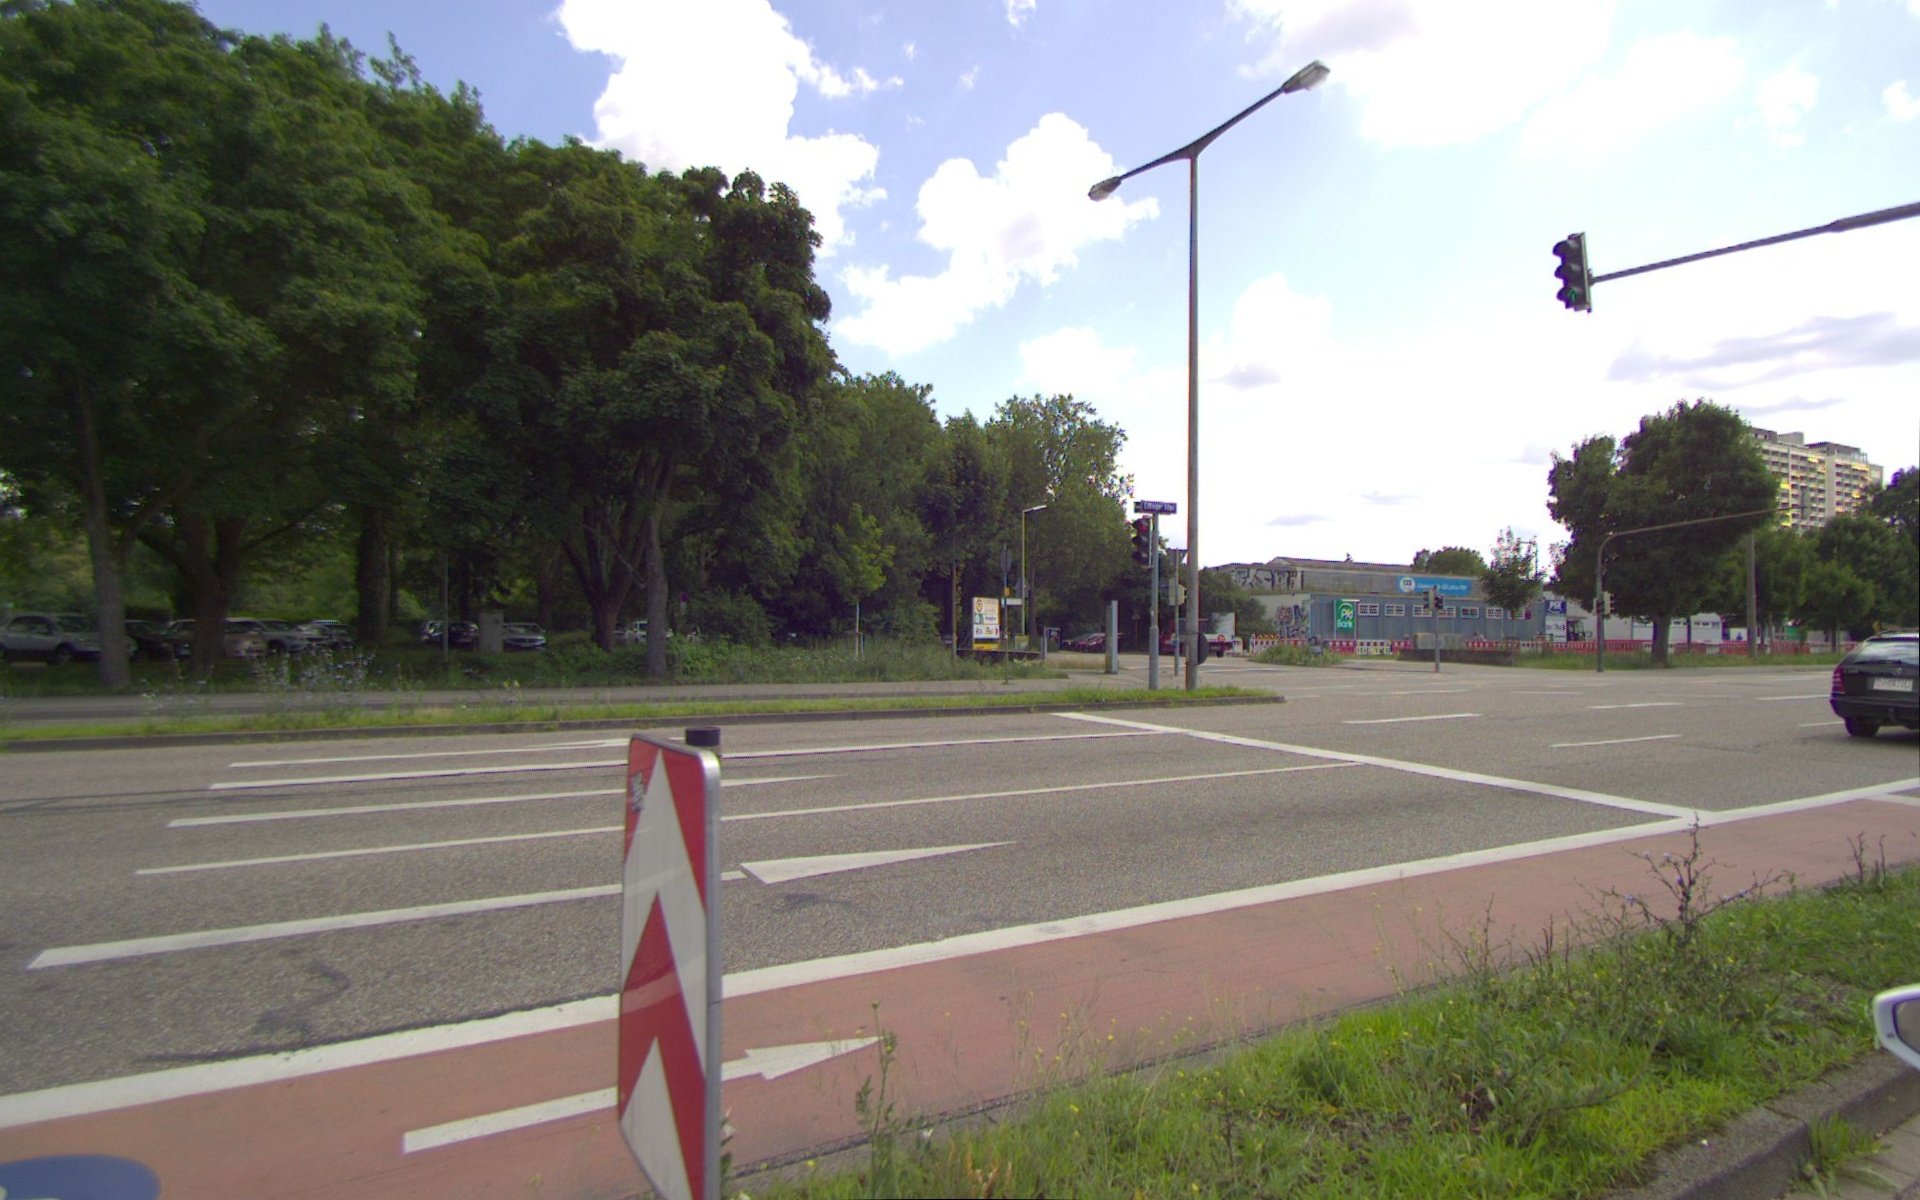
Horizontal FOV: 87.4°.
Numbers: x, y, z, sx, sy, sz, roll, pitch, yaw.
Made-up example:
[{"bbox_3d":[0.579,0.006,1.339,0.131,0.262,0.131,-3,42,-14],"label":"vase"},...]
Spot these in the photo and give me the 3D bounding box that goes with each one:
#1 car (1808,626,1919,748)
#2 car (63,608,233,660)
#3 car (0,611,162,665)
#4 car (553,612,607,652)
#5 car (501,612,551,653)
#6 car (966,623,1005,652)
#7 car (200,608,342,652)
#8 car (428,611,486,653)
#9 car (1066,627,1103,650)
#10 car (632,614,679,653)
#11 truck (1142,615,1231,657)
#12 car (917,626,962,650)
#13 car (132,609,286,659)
[{"bbox_3d":[13.537,1.111,13.544,4.378,1.485,1.748,1,-2,-28],"label":"car"},{"bbox_3d":[-25.884,1.084,32.095,3.941,1.608,2.002,0,-2,7],"label":"car"},{"bbox_3d":[-26.093,1.105,29.467,3.941,1.503,2.002,0,-2,7],"label":"car"},{"bbox_3d":[-17.369,1.486,46.096,2.013,1.748,4.561,1,-2,-17],"label":"car"},{"bbox_3d":[-19.517,1.458,45.306,1.792,1.732,4.109,1,-2,-20],"label":"car"},{"bbox_3d":[1.702,2.550,68.522,1.903,1.817,3.612,1,-1,-11],"label":"car"},{"bbox_3d":[-25.317,1.118,36.999,3.941,1.565,2.002,0,-2,7],"label":"car"},{"bbox_3d":[-21.804,1.381,43.670,1.792,1.750,4.109,1,-2,-20],"label":"car"},{"bbox_3d":[10.050,3.081,81.461,1.682,1.810,3.989,1,-2,-14],"label":"car"},{"bbox_3d":[-14.643,1.613,48.313,2.043,1.748,4.113,1,-2,-17],"label":"car"},{"bbox_3d":[14.111,2.246,63.225,2.985,2.471,6.974,1,-2,-11],"label":"truck"},{"bbox_3d":[-1.429,2.546,67.637,1.599,1.528,3.594,2,-1,-28],"label":"car"},{"bbox_3d":[-25.746,1.173,34.526,3.941,1.608,2.002,-1,-2,7],"label":"car"}]
